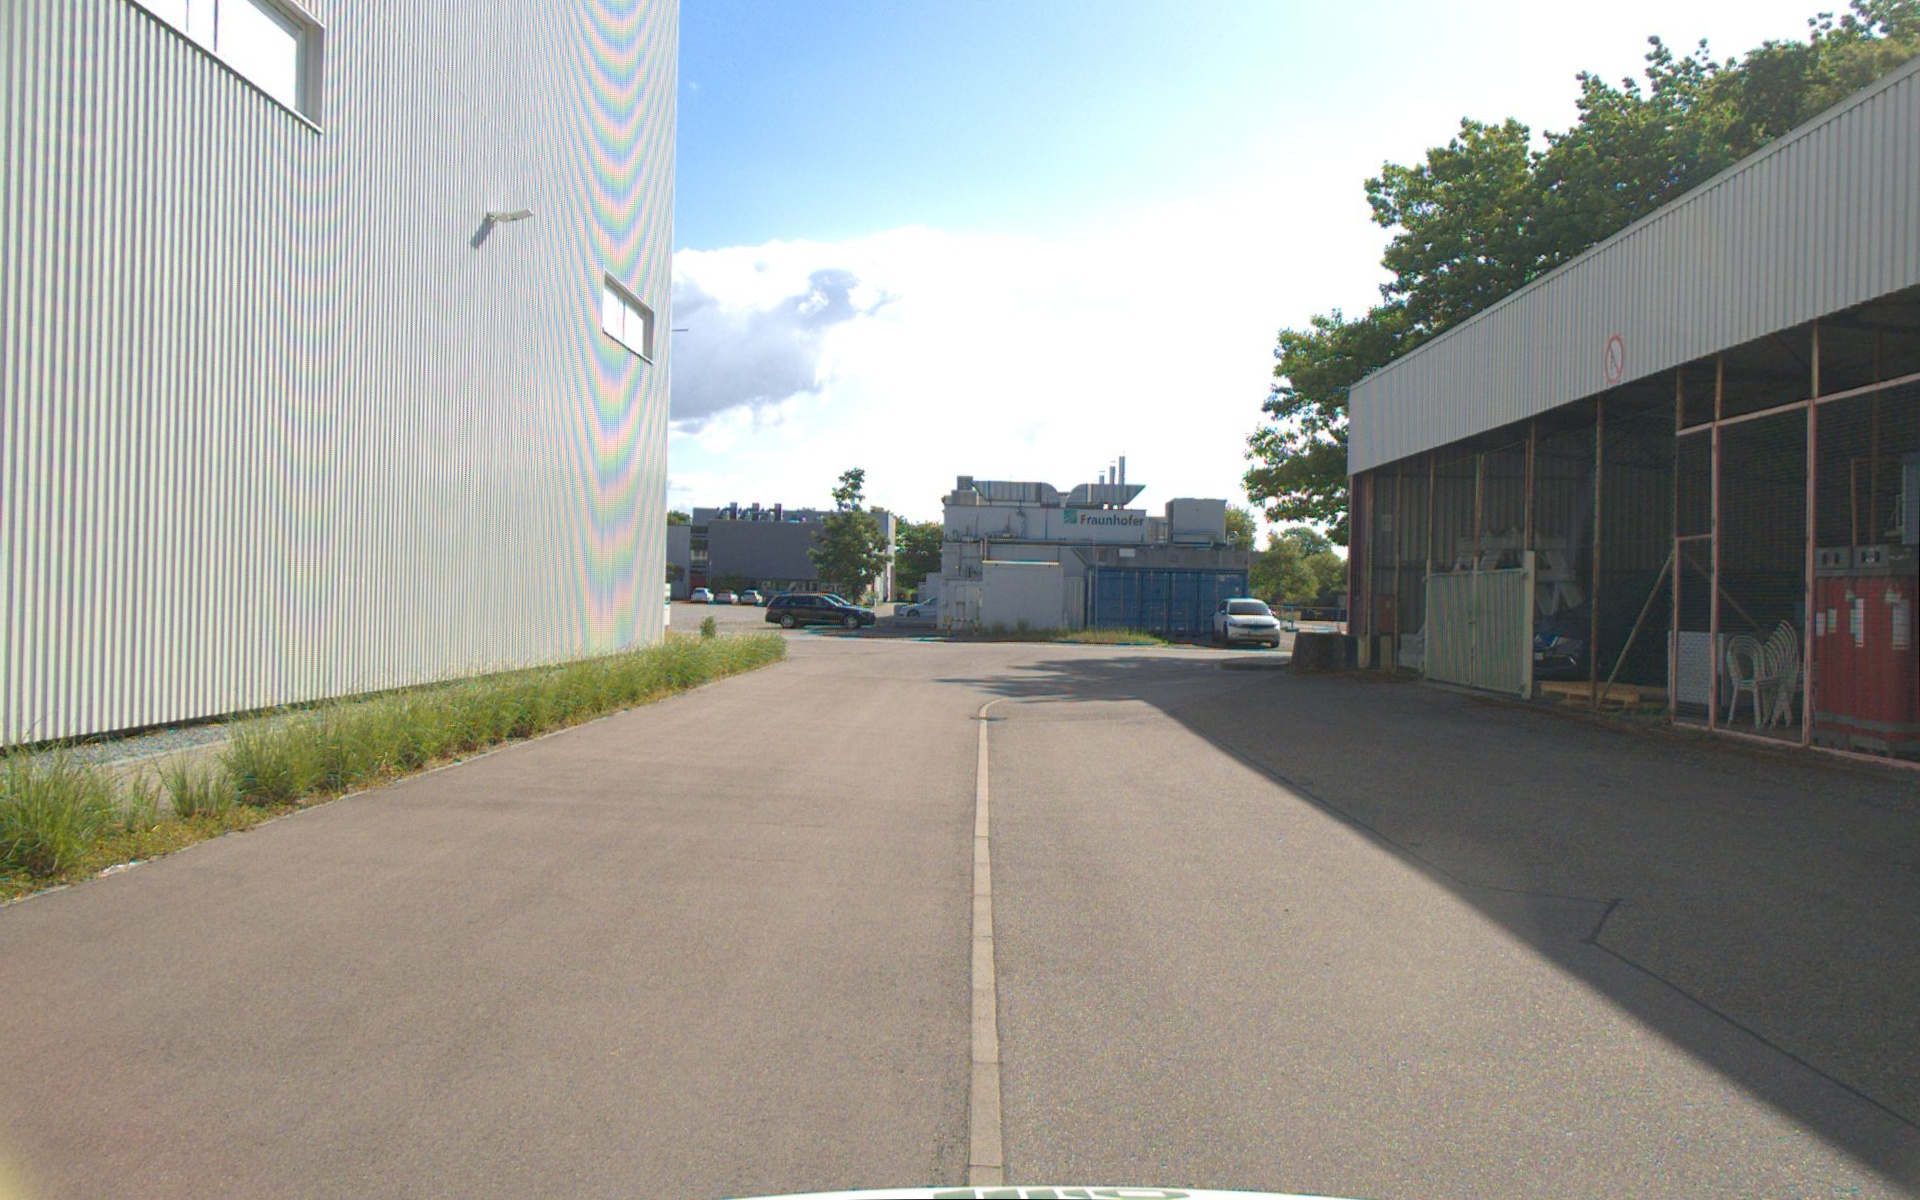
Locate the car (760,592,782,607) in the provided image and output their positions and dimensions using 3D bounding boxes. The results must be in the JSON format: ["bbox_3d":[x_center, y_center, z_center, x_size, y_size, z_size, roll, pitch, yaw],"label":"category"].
[{"bbox_3d":[-19.070,-0.054,166.712,1.820,1.521,4.028,0,0,-1],"label":"car"}]

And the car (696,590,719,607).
[{"bbox_3d":[-25.696,-0.150,168.584,1.761,1.742,4.047,0,0,-1],"label":"car"}]

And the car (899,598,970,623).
[{"bbox_3d":[-1.521,0.640,99.050,4.214,1.483,1.824,0,-1,0],"label":"car"}]

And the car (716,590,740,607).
[{"bbox_3d":[-23.620,-0.116,168.172,1.936,1.707,3.999,0,0,-1],"label":"car"}]

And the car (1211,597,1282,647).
[{"bbox_3d":[10.100,0.747,58.556,1.938,1.630,4.379,0,1,2],"label":"car"}]

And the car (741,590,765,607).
[{"bbox_3d":[-21.074,-0.142,168.572,1.926,1.742,4.028,0,0,-1],"label":"car"}]

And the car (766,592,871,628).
[{"bbox_3d":[-6.054,0.436,71.204,4.356,1.558,1.824,0,-1,0],"label":"car"}]

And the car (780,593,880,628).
[{"bbox_3d":[-5.865,0.464,74.848,4.356,1.558,1.824,0,-1,0],"label":"car"}]

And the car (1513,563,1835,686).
[{"bbox_3d":[12.050,0.416,28.070,4.678,1.950,1.997,1,-1,-8],"label":"car"}]
